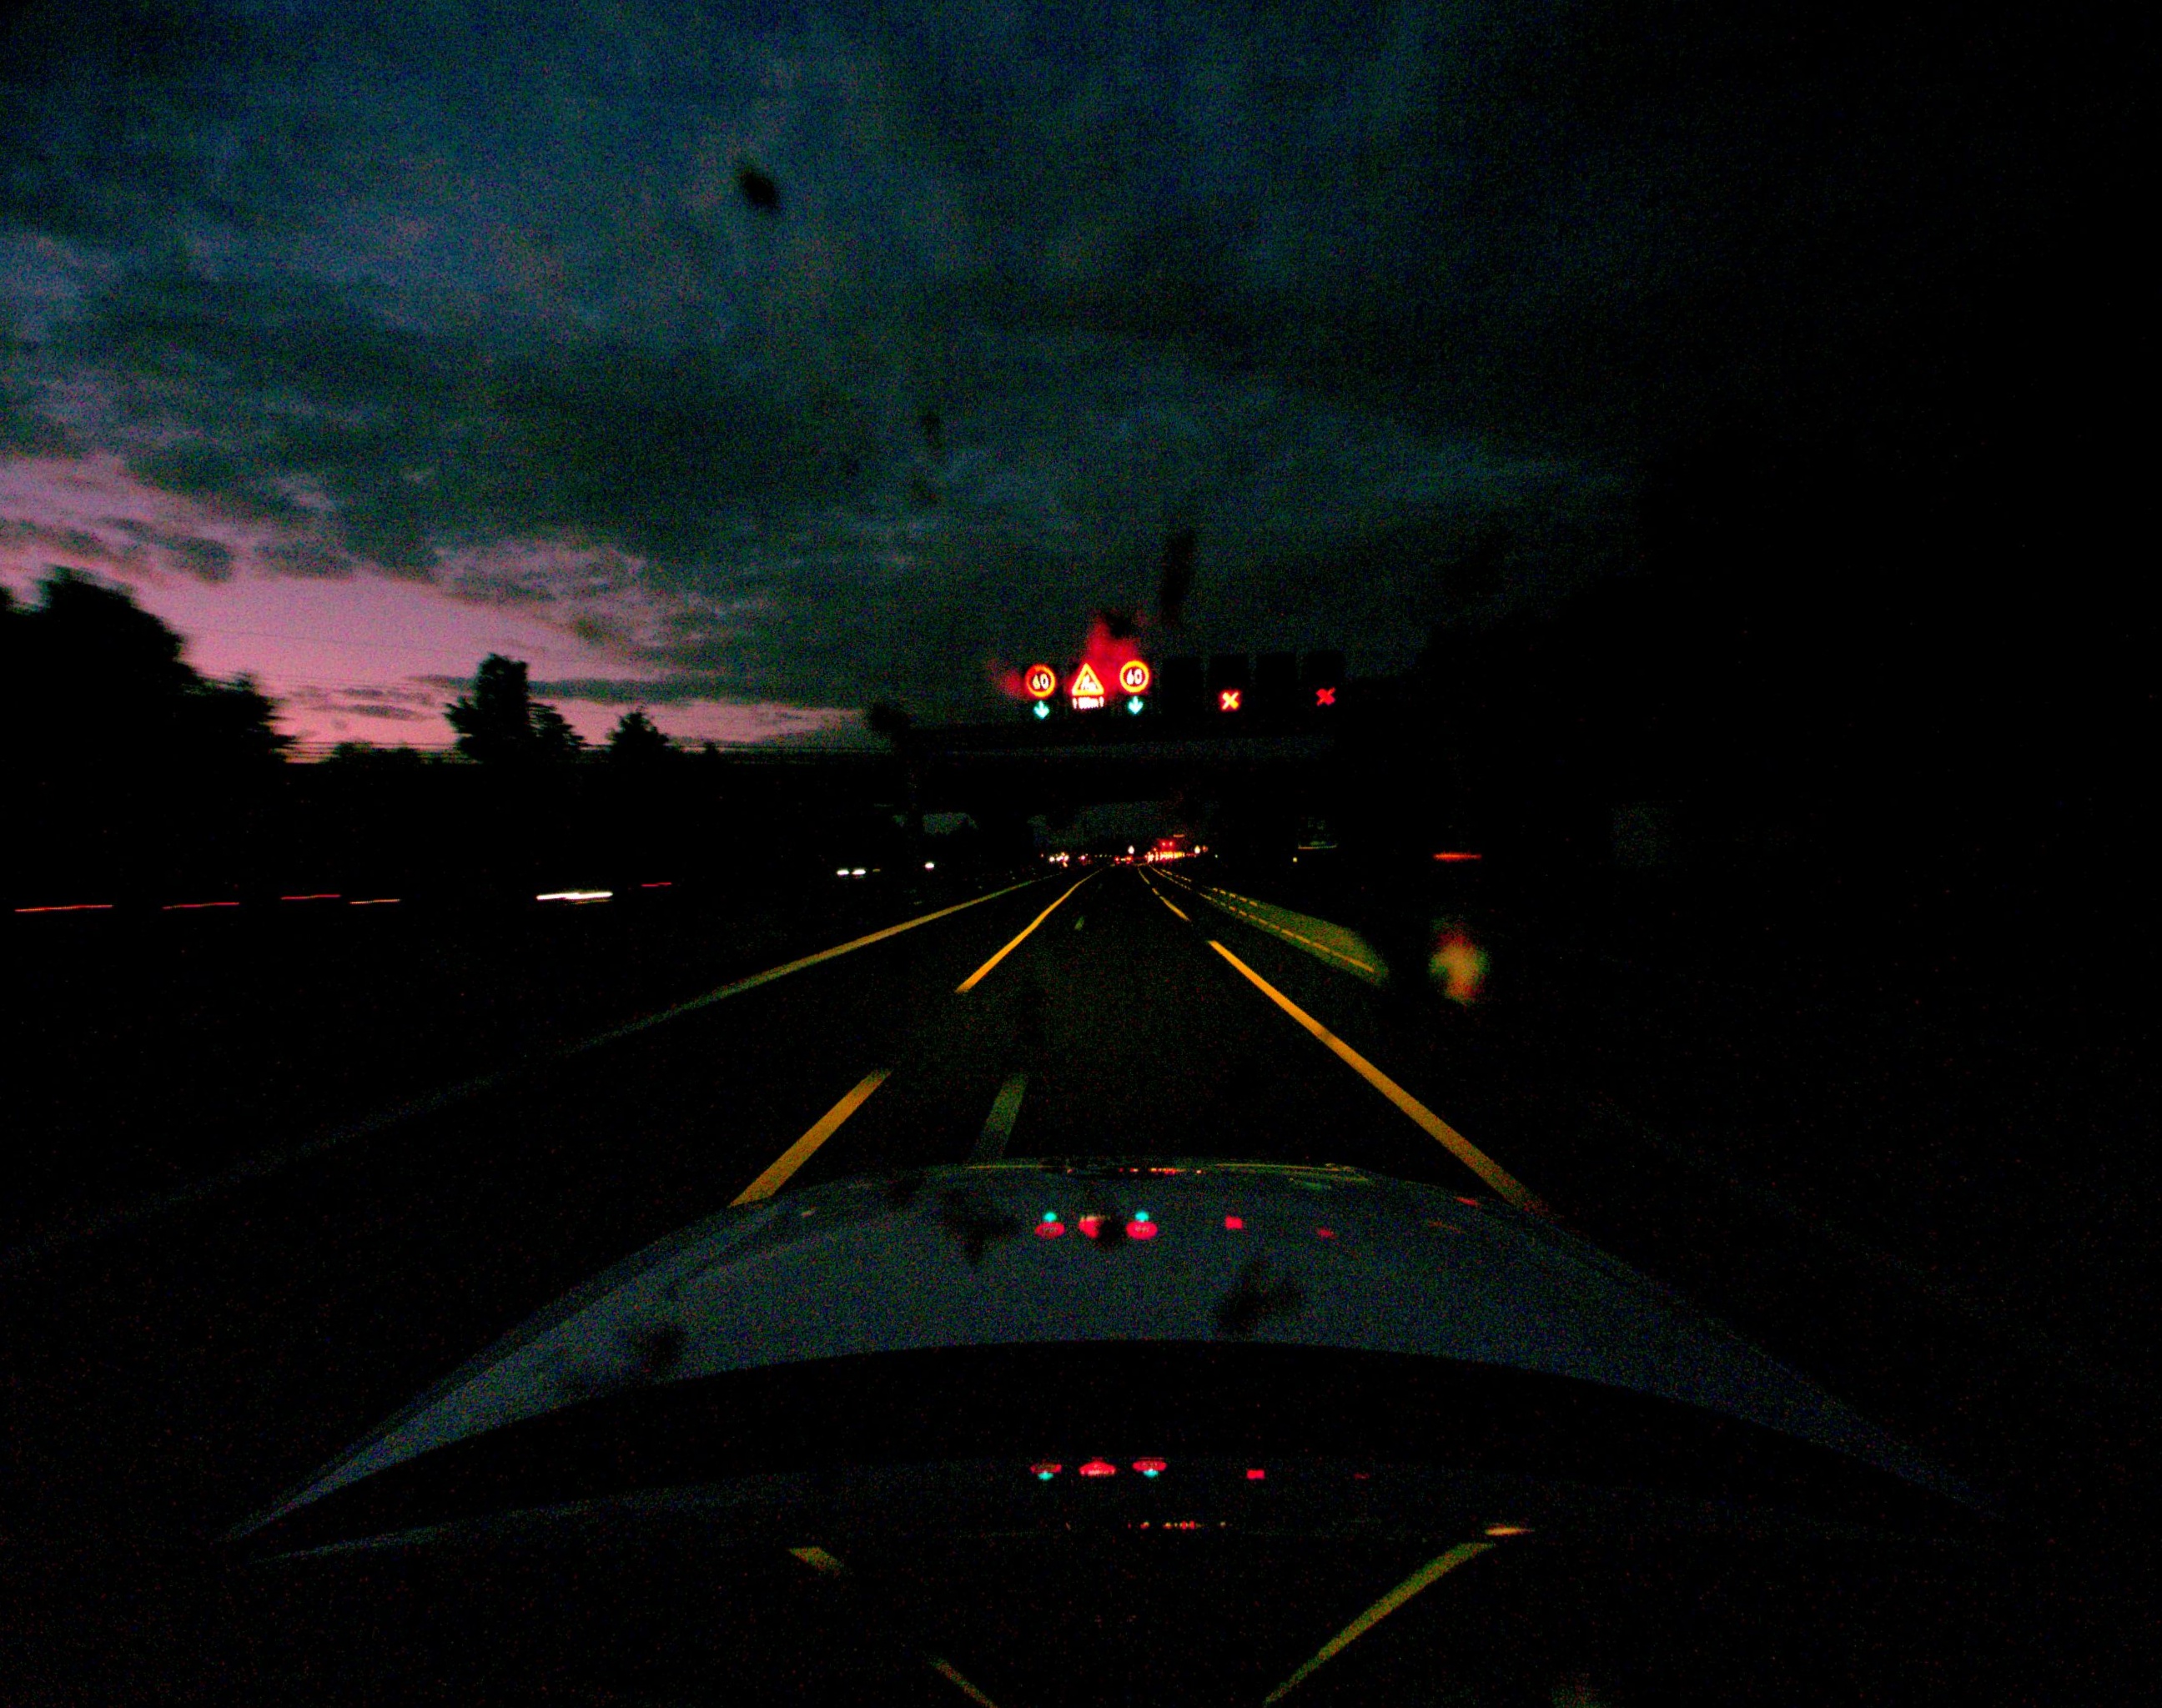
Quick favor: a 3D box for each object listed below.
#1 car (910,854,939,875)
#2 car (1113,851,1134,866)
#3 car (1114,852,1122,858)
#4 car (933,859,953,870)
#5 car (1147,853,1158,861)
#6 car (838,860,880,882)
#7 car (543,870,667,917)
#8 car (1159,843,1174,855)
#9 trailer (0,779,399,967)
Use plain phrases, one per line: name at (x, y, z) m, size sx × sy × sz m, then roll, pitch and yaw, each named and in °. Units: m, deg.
car at (-16.910, 1.130, 88.032) m, size 1.986 × 2.190 × 4.805 m, roll 0°, pitch 0°, yaw 2°
car at (4.700, 0.519, 88.963) m, size 2.256 × 1.621 × 4.004 m, roll 0°, pitch 0°, yaw 3°
car at (11.519, 0.341, 254.827) m, size 1.982 × 1.714 × 4.009 m, roll 0°, pitch 0°, yaw 8°
car at (-18.250, 1.361, 107.681) m, size 1.987 × 1.419 × 3.999 m, roll -2°, pitch 0°, yaw -1°
car at (12.992, 0.556, 148.738) m, size 1.962 × 1.437 × 4.006 m, roll 0°, pitch 0°, yaw 5°
car at (-18.135, 1.350, 66.723) m, size 1.986 × 1.674 × 4.585 m, roll 0°, pitch 0°, yaw 2°
car at (-18.600, 1.485, 32.094) m, size 1.984 × 1.675 × 4.520 m, roll 0°, pitch 0°, yaw 4°
car at (23.995, -1.345, 227.833) m, size 3.592 × 3.395 × 8.016 m, roll 0°, pitch 0°, yaw 1°
trailer at (-25.310, 0.429, 21.863) m, size 2.766 × 4.206 × 12.416 m, roll 0°, pitch 0°, yaw 4°
